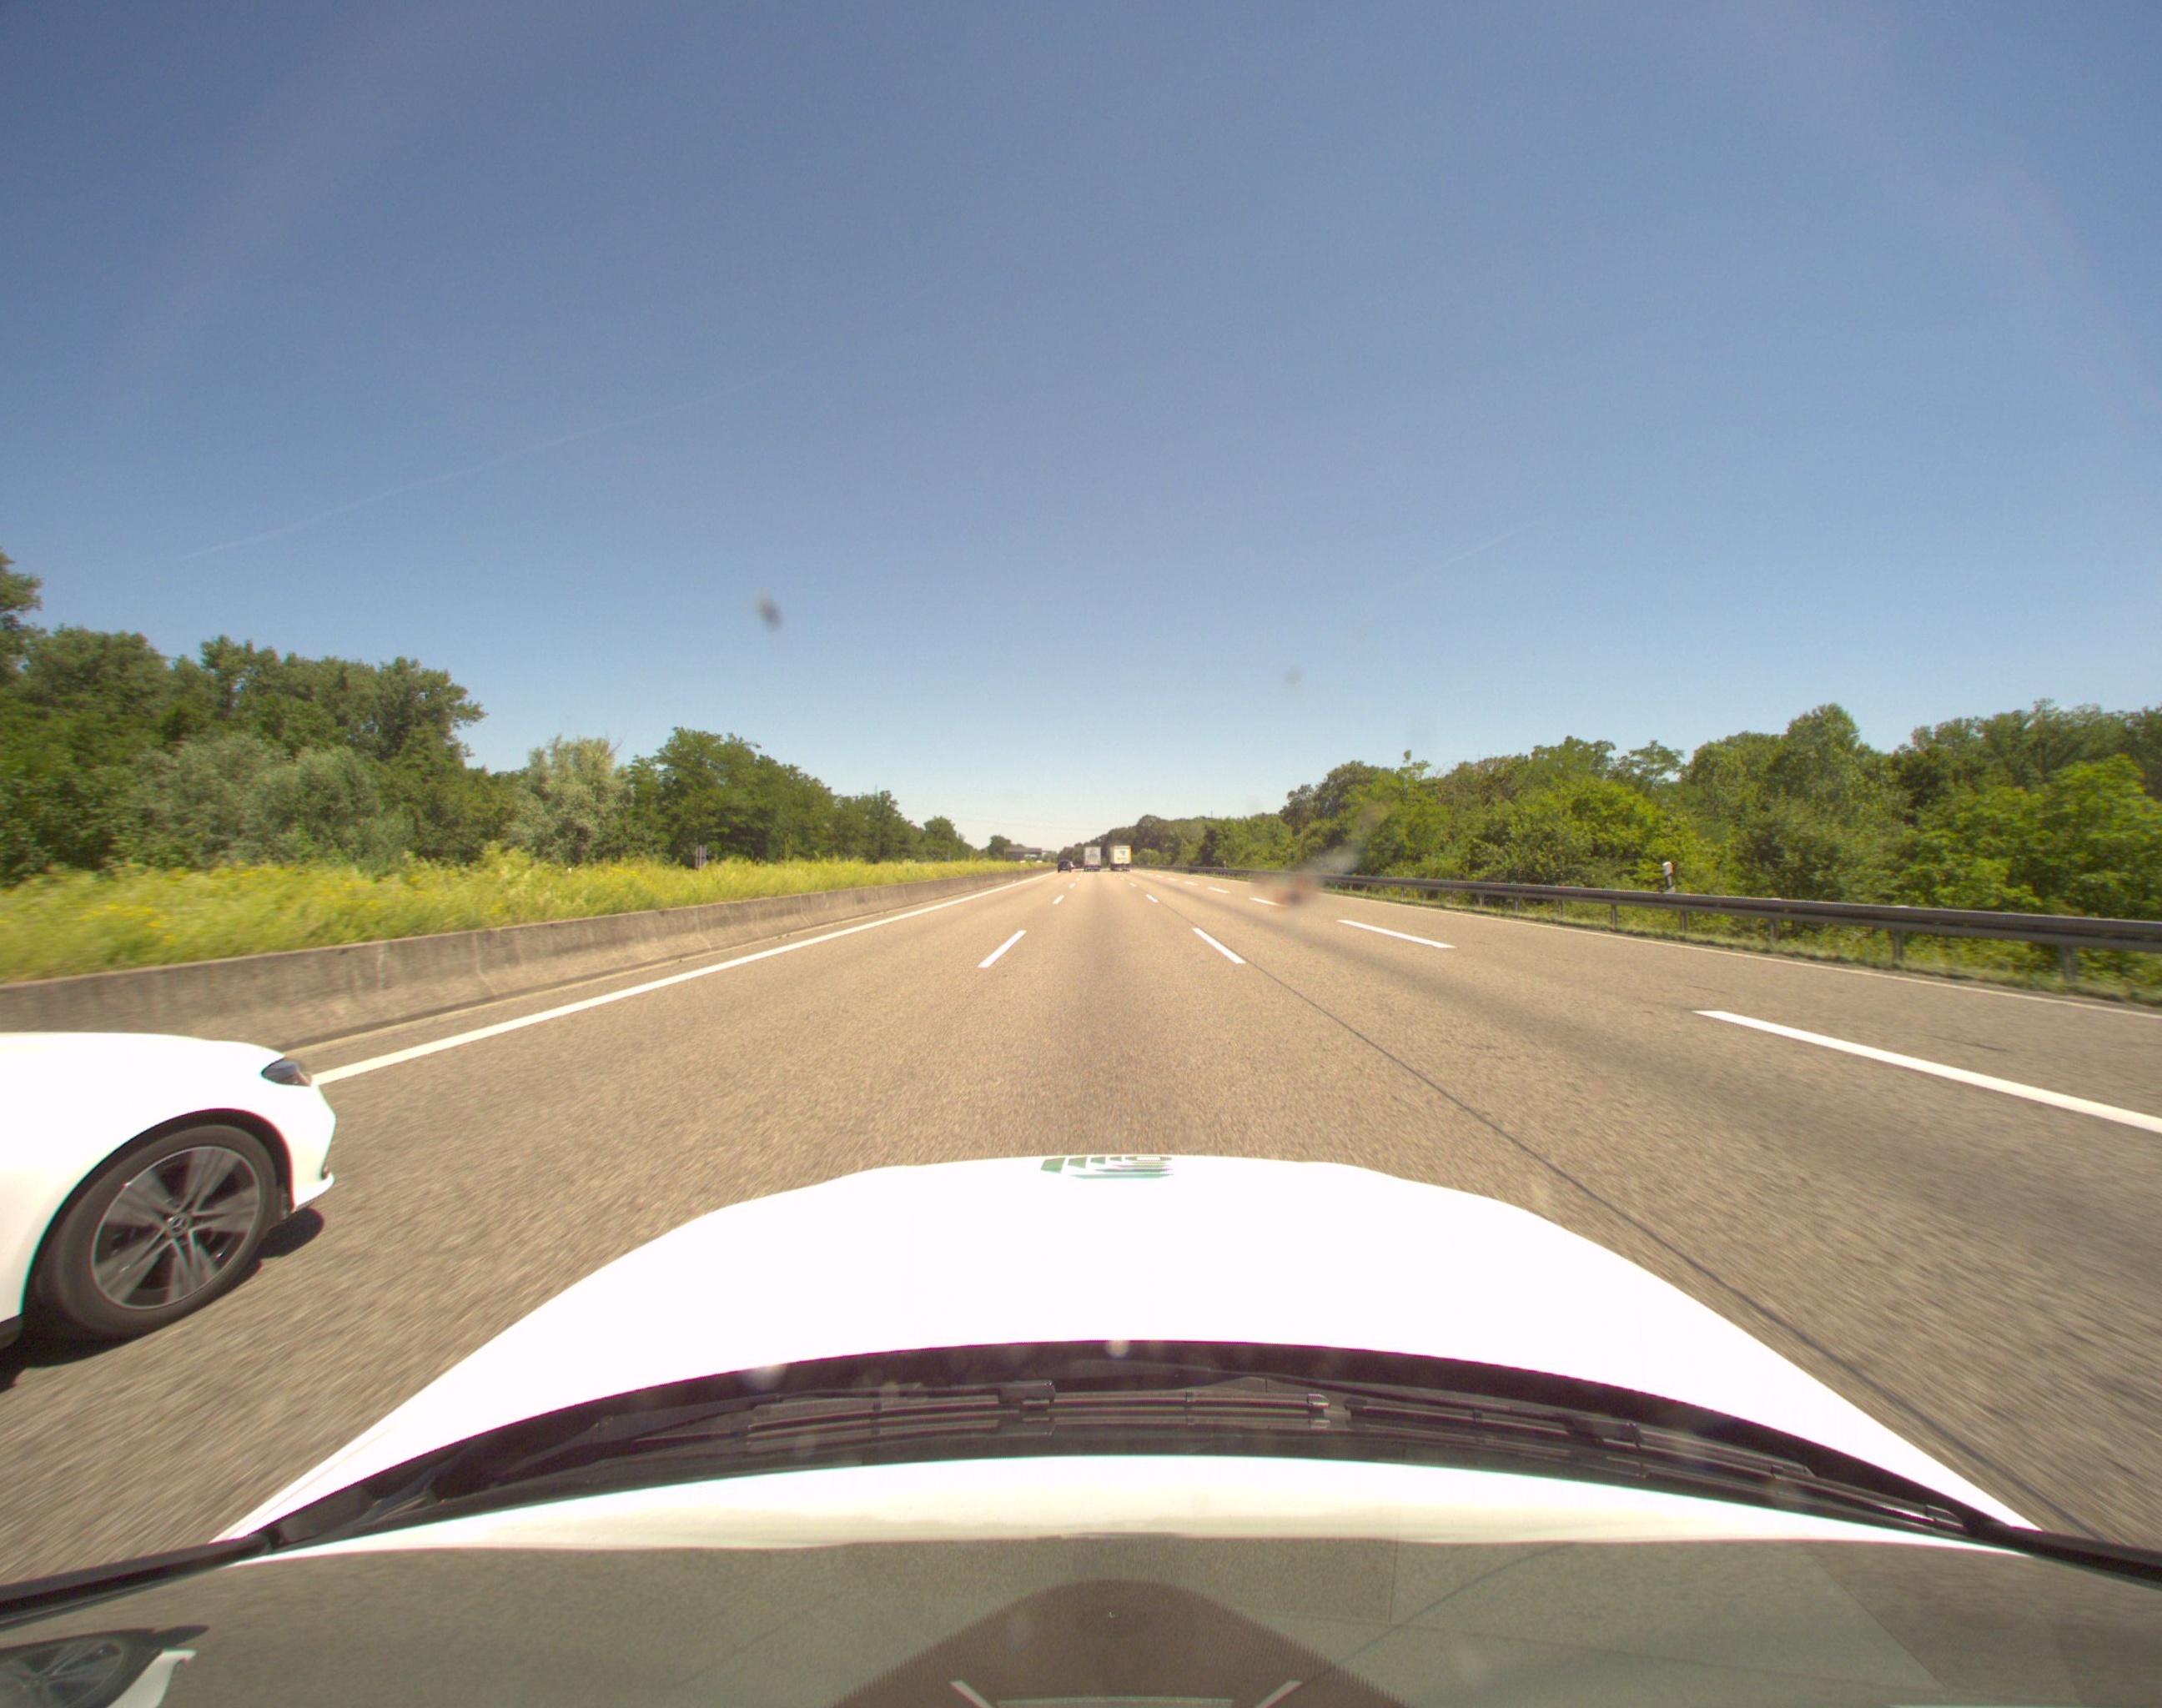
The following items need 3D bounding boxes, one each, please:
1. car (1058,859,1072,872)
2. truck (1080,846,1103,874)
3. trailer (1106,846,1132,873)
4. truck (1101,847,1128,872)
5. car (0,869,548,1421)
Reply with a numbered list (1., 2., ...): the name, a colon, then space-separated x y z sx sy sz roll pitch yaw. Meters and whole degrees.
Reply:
1. car: -2.406 1.684 118.728 1.988 1.874 3.997 0 0 -2
2. truck: 1.653 0.880 128.491 3.221 4.202 8.458 0 0 -2
3. trailer: 5.909 0.805 128.011 3.360 4.142 9.082 0 0 -3
4. truck: 5.439 0.846 136.228 3.319 4.053 10.937 0 0 -4
5. car: -3.881 0.868 1.872 1.760 1.448 5.111 -2 1 2
